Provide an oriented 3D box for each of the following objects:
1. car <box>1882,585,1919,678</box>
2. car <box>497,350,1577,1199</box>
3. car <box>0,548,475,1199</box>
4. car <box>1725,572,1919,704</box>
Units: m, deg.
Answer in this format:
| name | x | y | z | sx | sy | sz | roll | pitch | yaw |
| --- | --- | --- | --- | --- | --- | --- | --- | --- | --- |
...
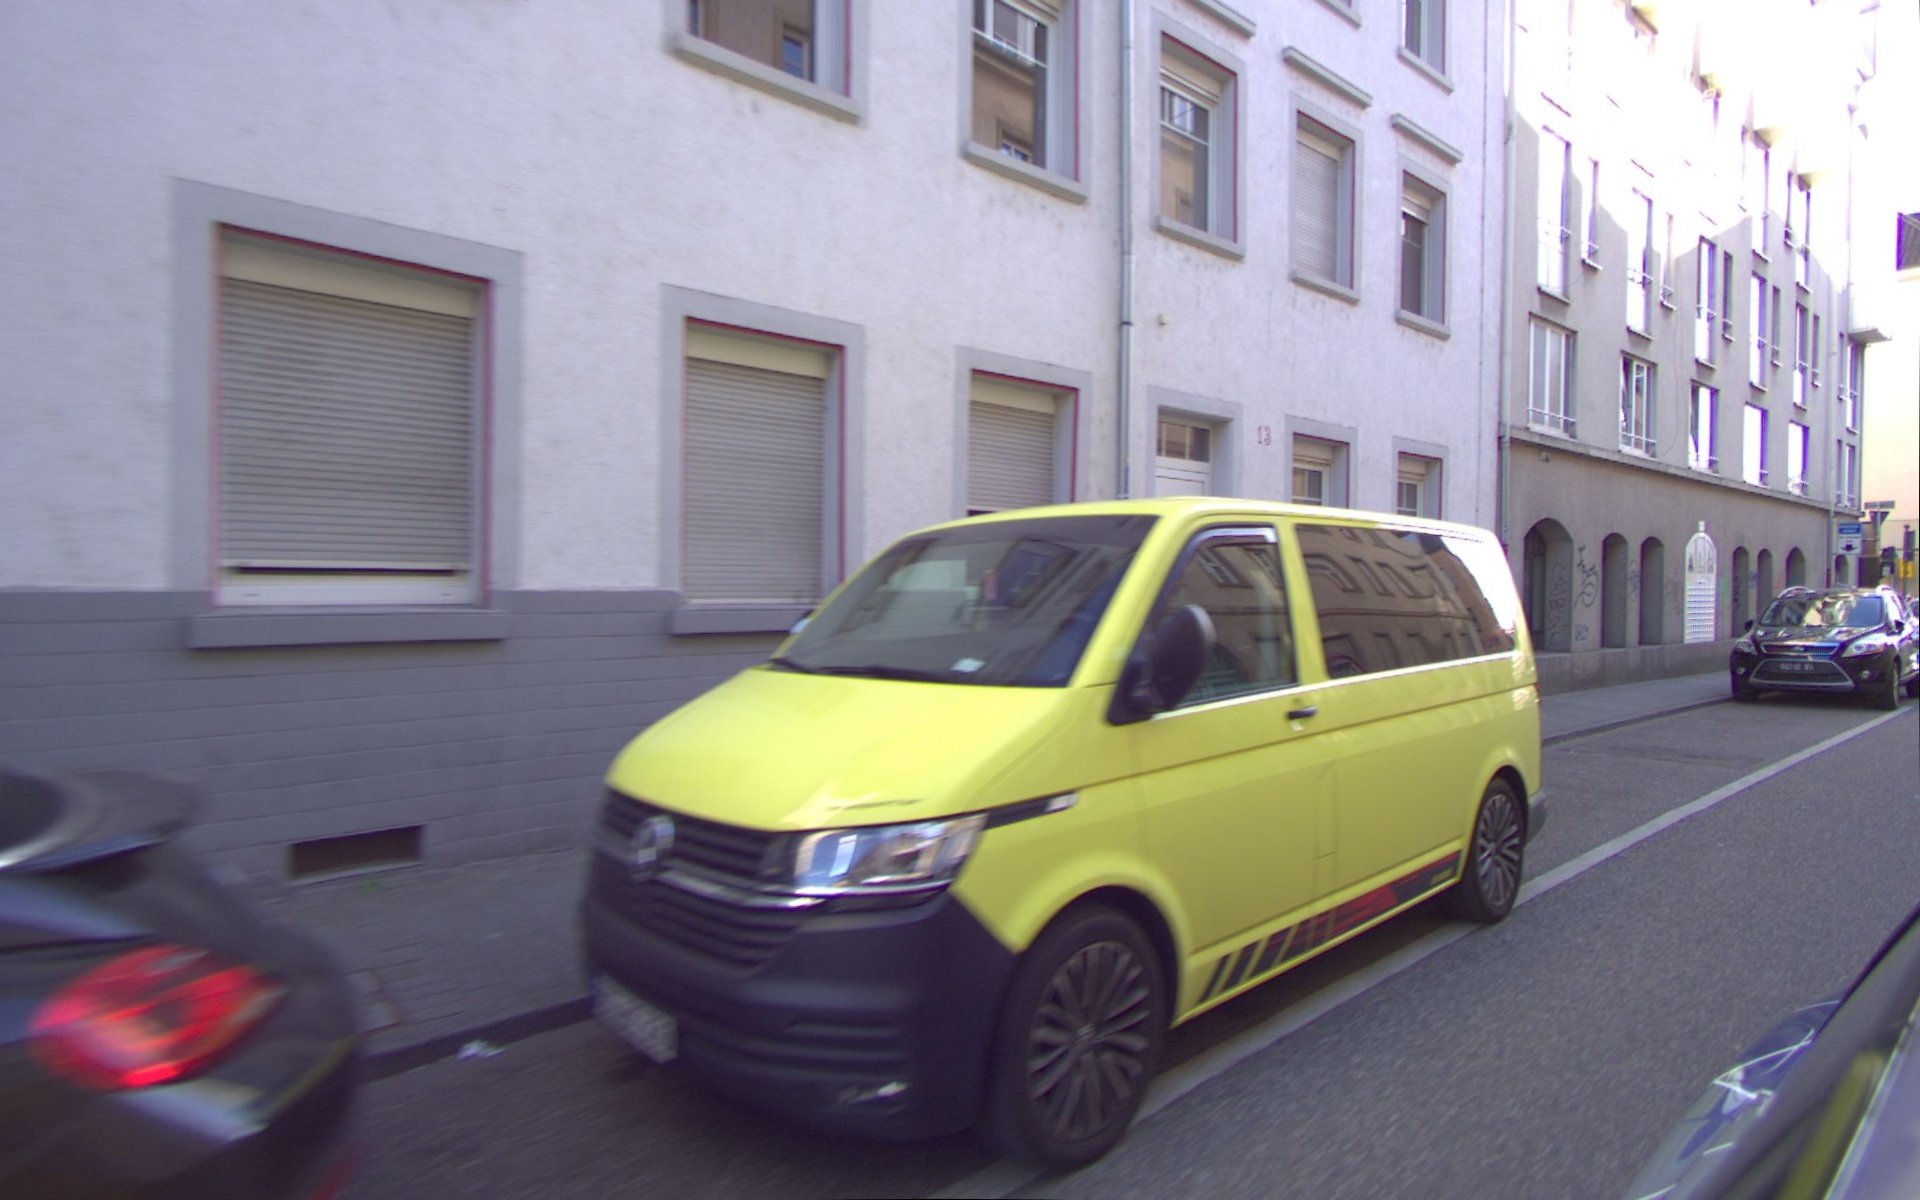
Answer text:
| name | x | y | z | sx | sy | sz | roll | pitch | yaw |
| --- | --- | --- | --- | --- | --- | --- | --- | --- | --- |
| car | 18.061 | 0.534 | 17.944 | 3.912 | 1.579 | 1.830 | 0 | 0 | -37 |
| car | 0.815 | 0.434 | 4.332 | 4.763 | 1.905 | 1.886 | 0 | 1 | -42 |
| car | -2.986 | 0.686 | 0.851 | 4.297 | 1.508 | 1.884 | 0 | 1 | -45 |
| car | 13.149 | 0.467 | 15.008 | 4.411 | 1.675 | 1.830 | 0 | 0 | -38 |
